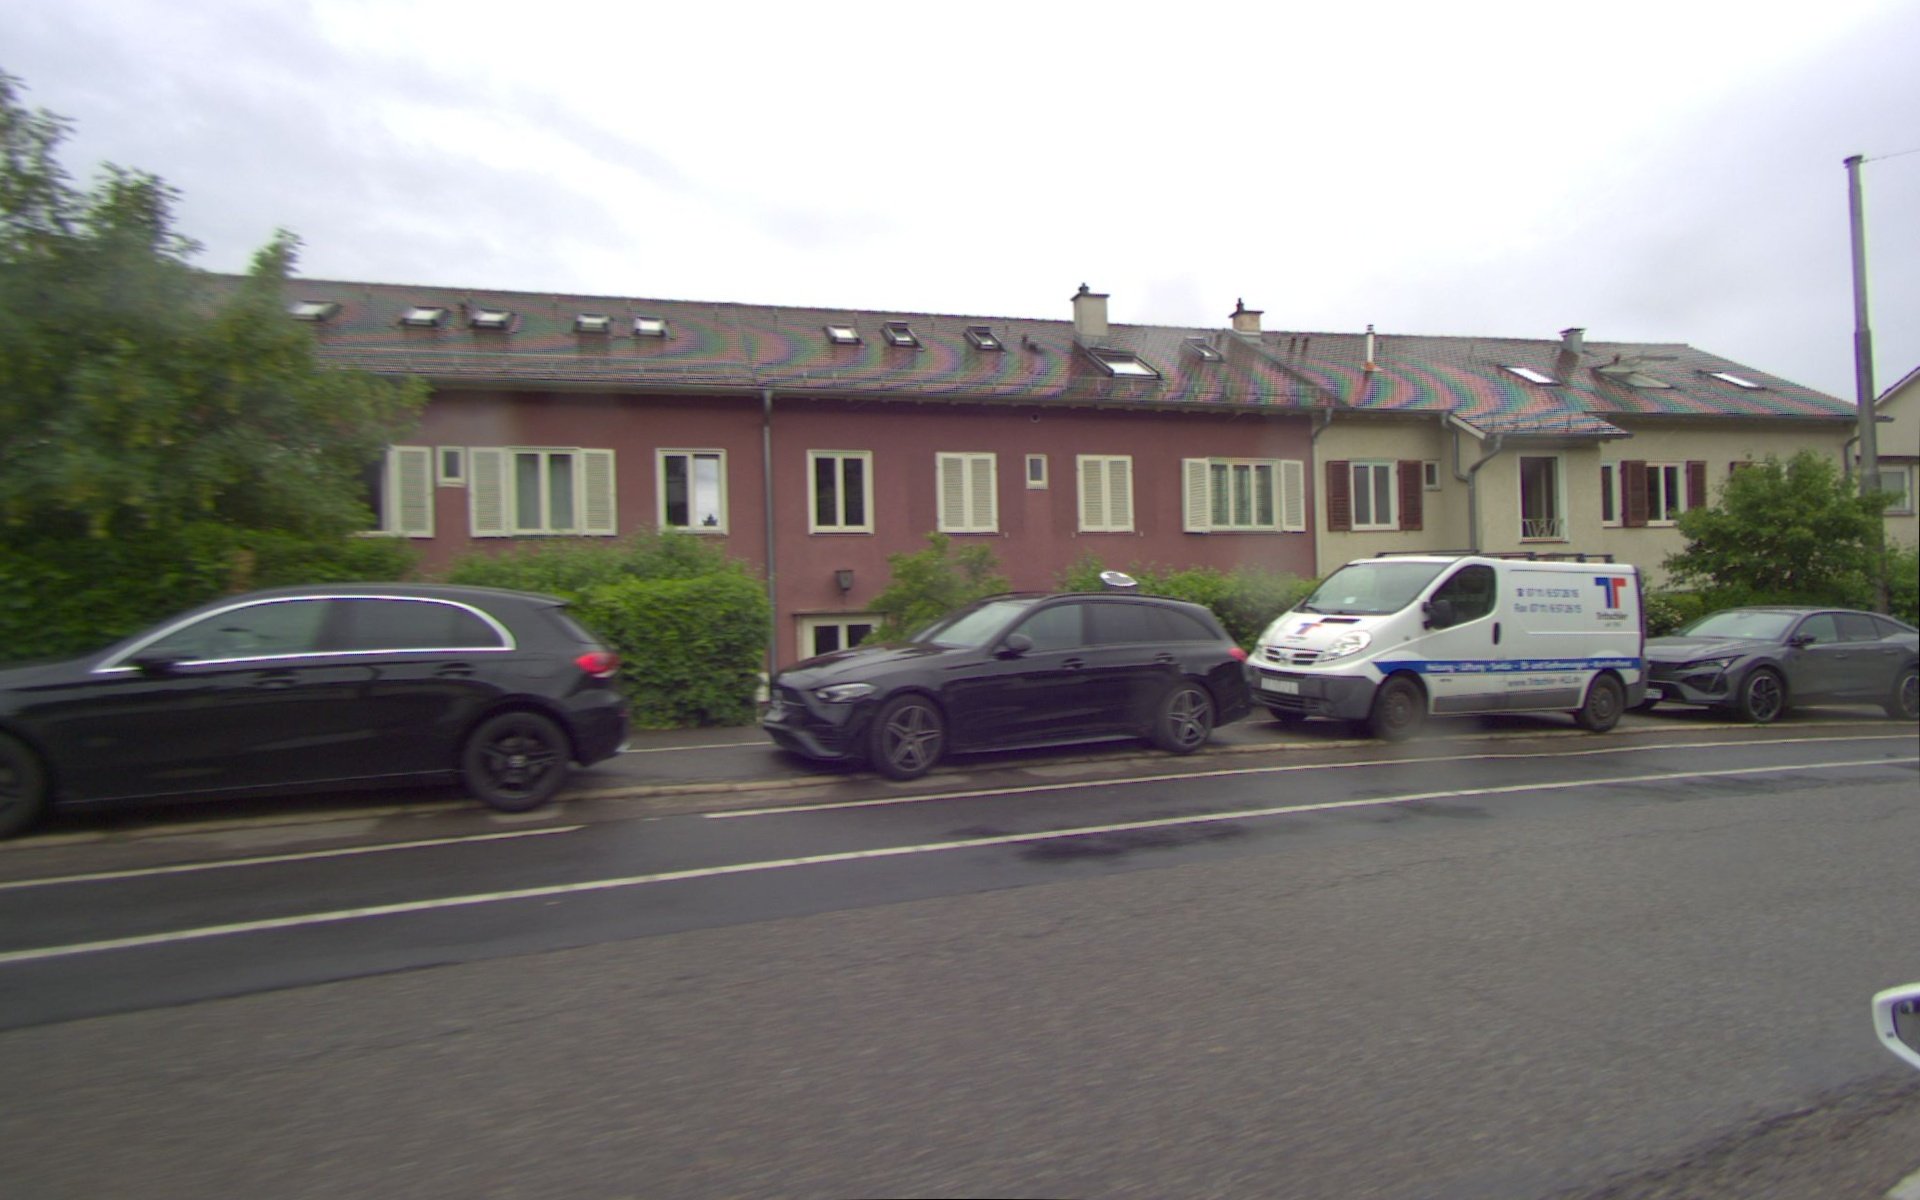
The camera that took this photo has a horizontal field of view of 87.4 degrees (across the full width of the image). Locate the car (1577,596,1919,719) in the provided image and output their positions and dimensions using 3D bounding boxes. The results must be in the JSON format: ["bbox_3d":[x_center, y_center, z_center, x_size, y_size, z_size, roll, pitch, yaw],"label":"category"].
[{"bbox_3d":[10.974,0.752,13.744,4.449,1.496,1.807,1,0,-17],"label":"car"}]

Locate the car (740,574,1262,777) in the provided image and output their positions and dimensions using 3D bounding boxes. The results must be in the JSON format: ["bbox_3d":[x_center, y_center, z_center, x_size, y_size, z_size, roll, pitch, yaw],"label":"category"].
[{"bbox_3d":[0.423,0.596,9.190,4.463,1.496,1.802,1,0,-27],"label":"car"}]

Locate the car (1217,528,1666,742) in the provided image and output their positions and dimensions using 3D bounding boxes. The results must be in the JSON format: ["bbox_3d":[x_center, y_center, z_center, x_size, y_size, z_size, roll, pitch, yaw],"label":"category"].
[{"bbox_3d":[5.616,0.399,11.682,4.948,2.106,1.844,1,0,-22],"label":"car"}]

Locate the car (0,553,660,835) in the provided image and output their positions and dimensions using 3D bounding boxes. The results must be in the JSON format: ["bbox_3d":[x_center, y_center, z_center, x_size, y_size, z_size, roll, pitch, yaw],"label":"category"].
[{"bbox_3d":[-4.402,0.521,6.627,4.459,1.496,1.803,1,0,-24],"label":"car"}]
